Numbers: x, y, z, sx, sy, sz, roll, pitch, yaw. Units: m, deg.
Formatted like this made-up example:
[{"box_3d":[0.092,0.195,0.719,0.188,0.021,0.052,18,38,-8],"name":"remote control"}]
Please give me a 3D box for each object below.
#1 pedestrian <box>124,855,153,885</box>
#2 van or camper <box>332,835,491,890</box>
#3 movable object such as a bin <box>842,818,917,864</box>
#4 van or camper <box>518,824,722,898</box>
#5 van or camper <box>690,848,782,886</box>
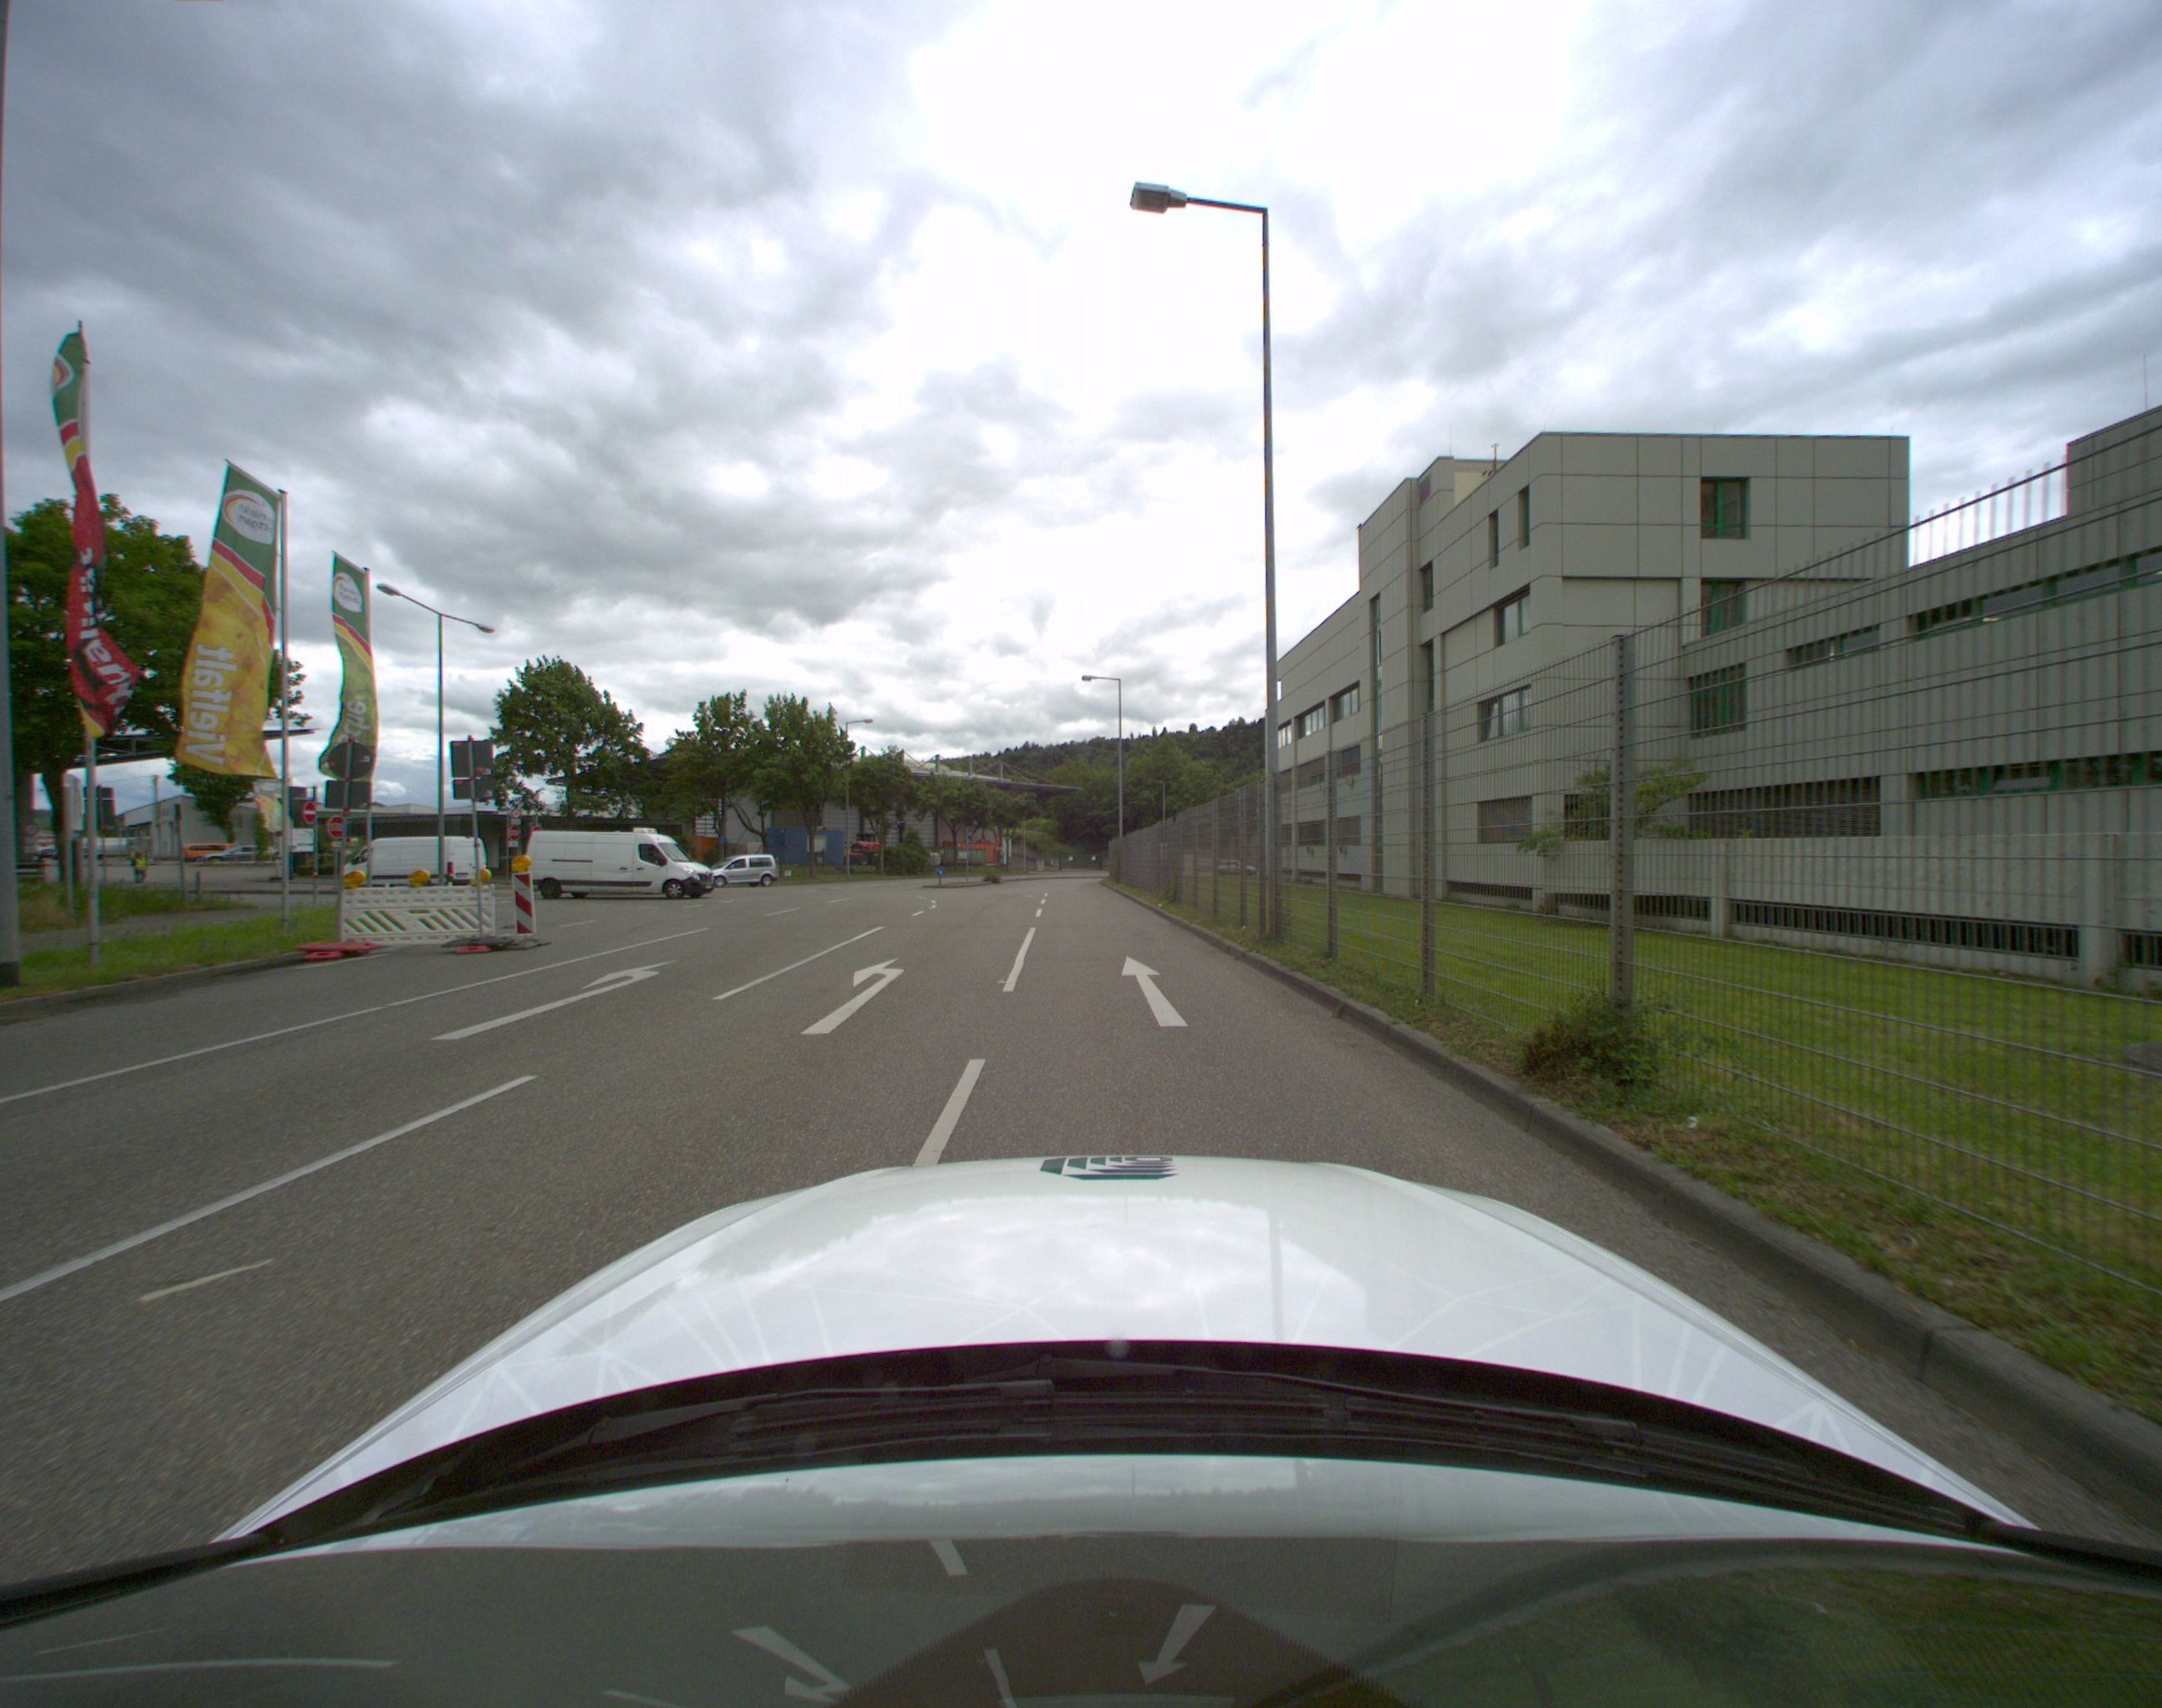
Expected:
[{"box_3d":[-49.251,0.845,42.569,0.807,1.559,0.773,-1,0,23],"name":"pedestrian"},{"box_3d":[-32.850,0.361,40.022,6.515,2.557,2.338,1,1,10],"name":"van or camper"},{"box_3d":[-18.520,-1.174,75.215,2.698,4.091,6.594,-1,0,32],"name":"movable object such as a bin"},{"box_3d":[-16.680,0.239,29.747,6.072,2.557,2.271,0,1,-2],"name":"van or camper"},{"box_3d":[-19.192,0.665,45.459,1.933,1.963,4.303,1,1,41],"name":"van or camper"}]
